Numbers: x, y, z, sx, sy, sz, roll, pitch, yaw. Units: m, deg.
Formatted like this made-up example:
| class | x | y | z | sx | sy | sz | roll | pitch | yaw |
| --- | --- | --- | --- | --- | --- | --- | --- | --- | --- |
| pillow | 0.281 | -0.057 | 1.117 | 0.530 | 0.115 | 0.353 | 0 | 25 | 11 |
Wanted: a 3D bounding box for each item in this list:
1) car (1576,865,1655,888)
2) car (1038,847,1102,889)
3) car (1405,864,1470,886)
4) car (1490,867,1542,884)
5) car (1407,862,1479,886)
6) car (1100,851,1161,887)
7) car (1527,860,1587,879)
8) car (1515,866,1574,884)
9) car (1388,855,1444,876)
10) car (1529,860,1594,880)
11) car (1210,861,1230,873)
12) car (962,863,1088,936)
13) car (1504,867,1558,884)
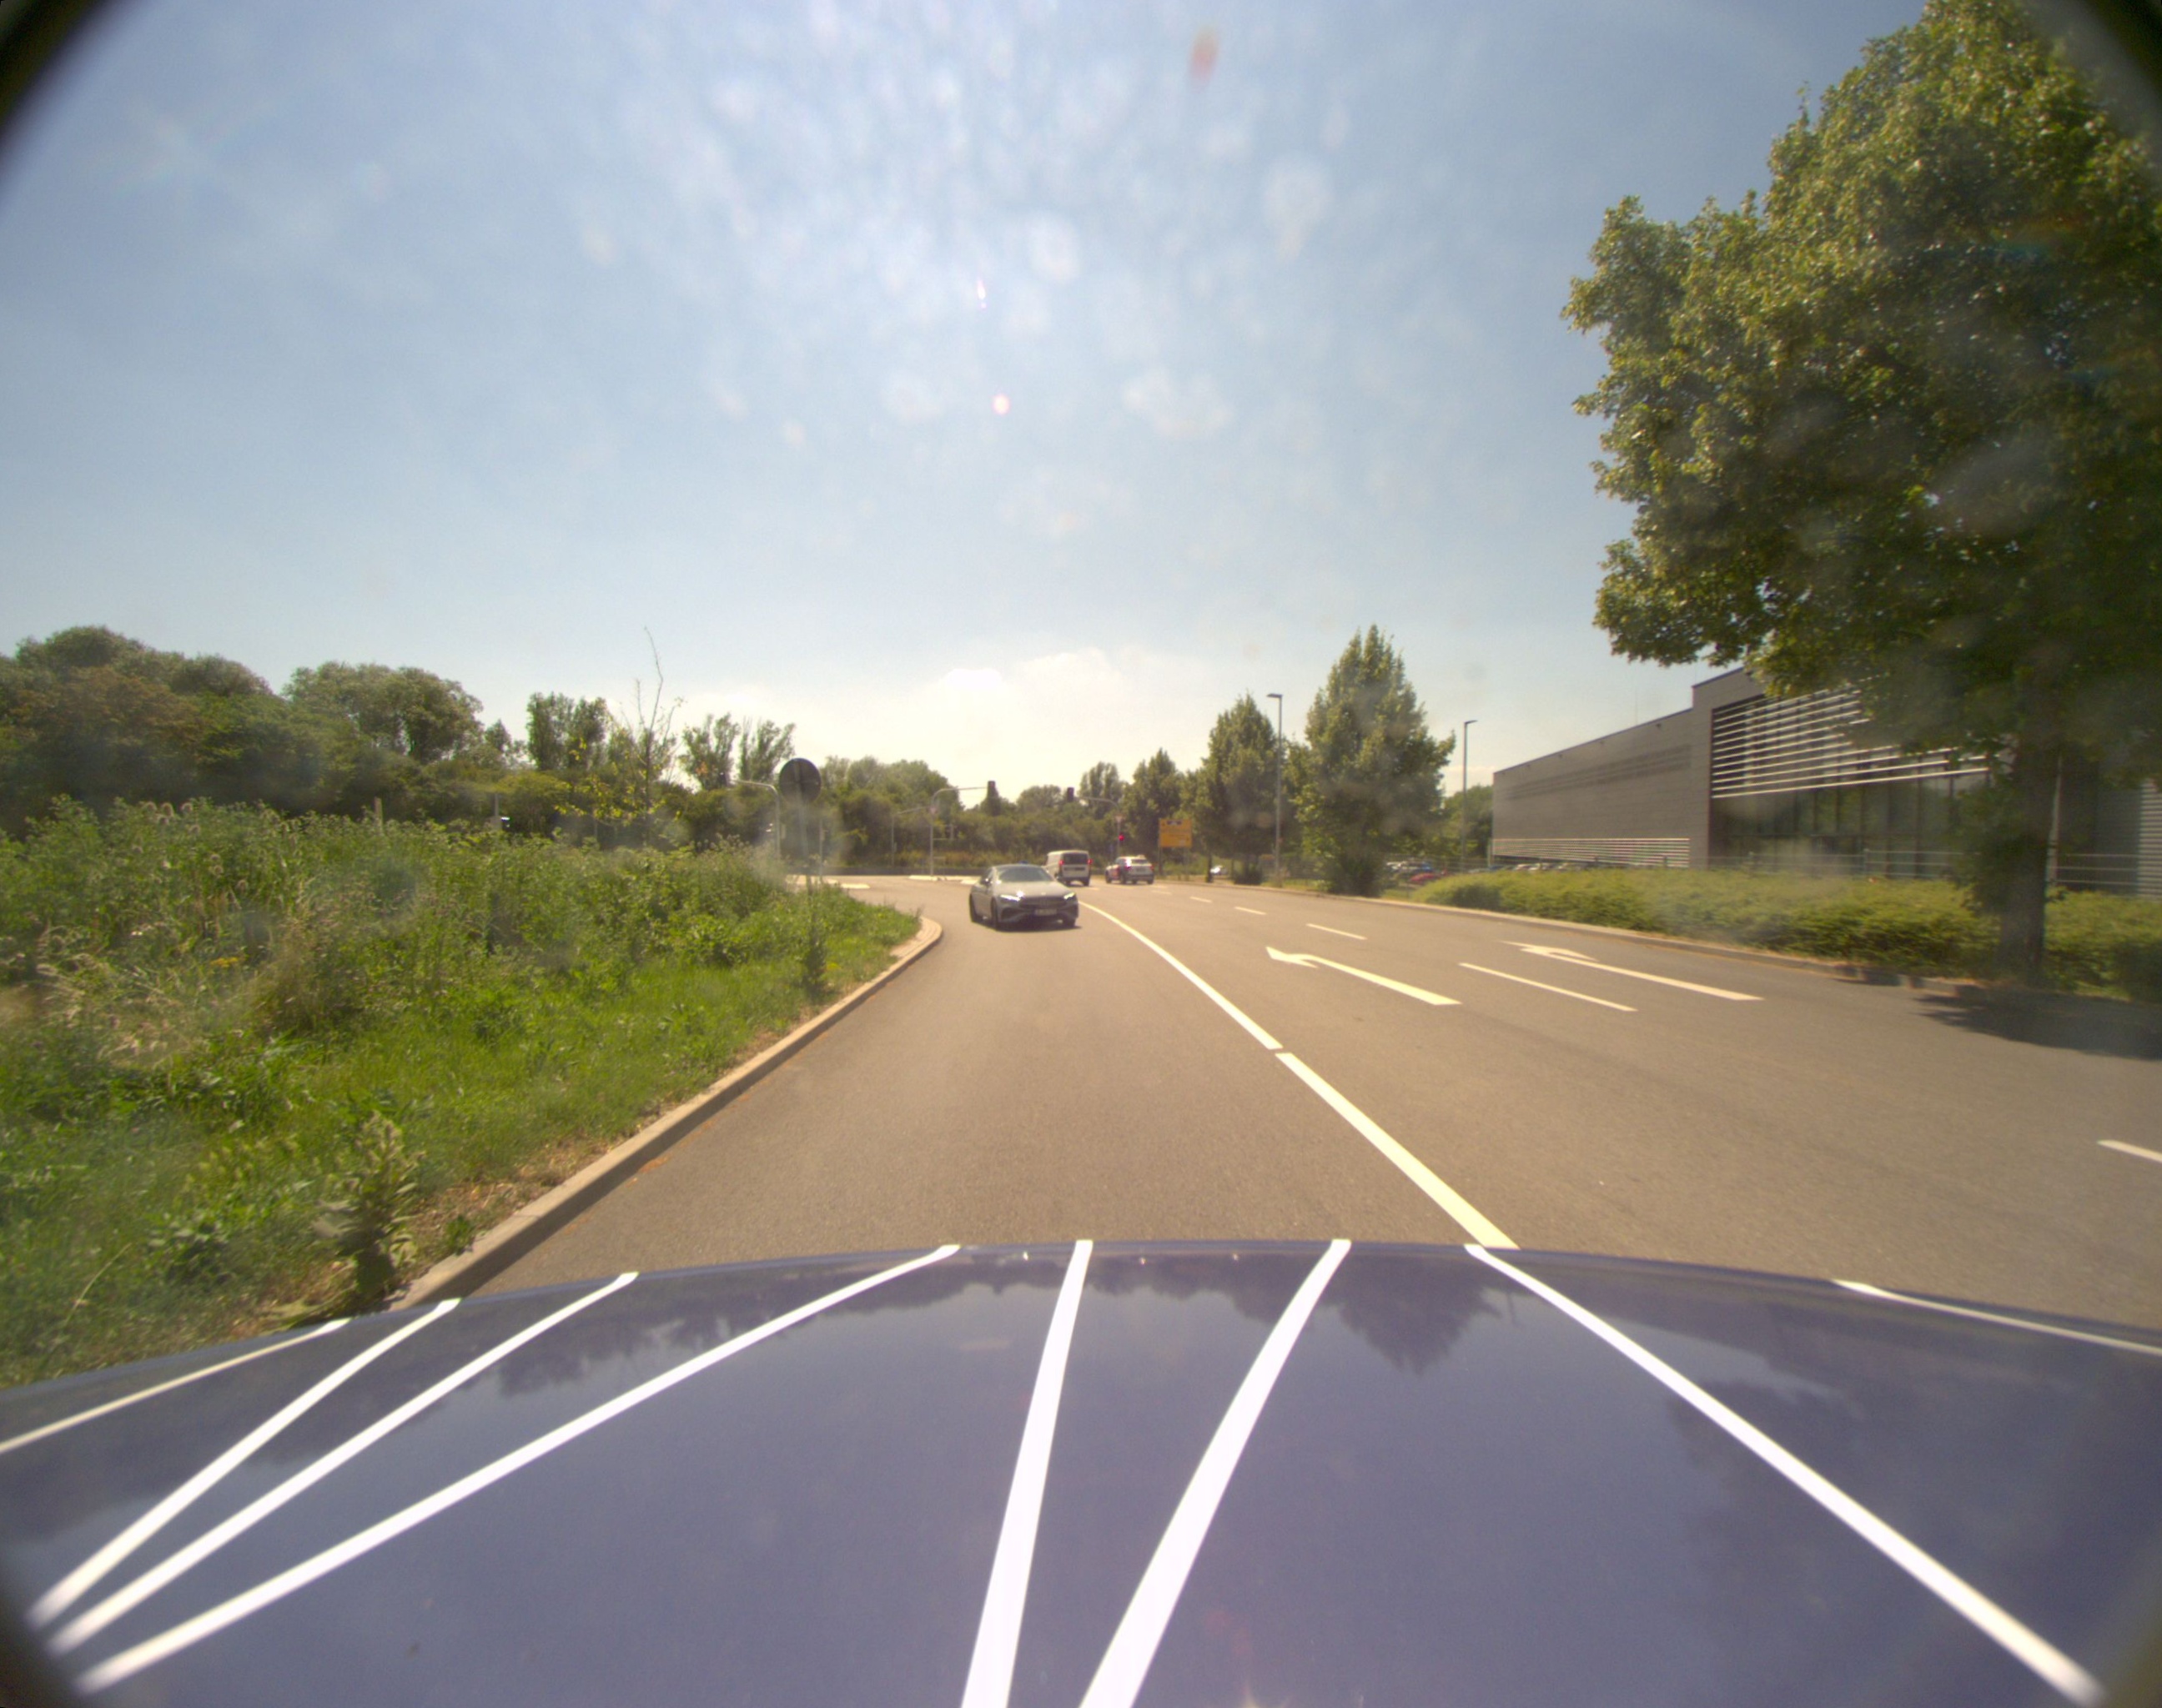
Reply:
| class | x | y | z | sx | sy | sz | roll | pitch | yaw |
| --- | --- | --- | --- | --- | --- | --- | --- | --- | --- |
| car | 36.732 | 1.552 | 52.322 | 3.993 | 1.477 | 2.002 | 1 | -1 | 11 |
| car | -0.662 | 0.690 | 40.634 | 2.001 | 1.932 | 4.862 | -4 | 2 | -18 |
| car | 26.338 | 1.554 | 56.309 | 3.993 | 1.477 | 2.002 | 1 | -1 | 11 |
| car | 42.621 | 2.119 | 74.542 | 3.993 | 1.477 | 2.002 | 1 | -1 | 11 |
| car | 24.310 | 1.362 | 51.175 | 3.993 | 1.477 | 2.002 | 1 | -1 | 11 |
| car | 2.707 | 0.774 | 42.344 | 2.001 | 1.698 | 3.857 | -4 | 2 | -18 |
| car | 40.725 | 1.343 | 65.086 | 3.993 | 1.451 | 1.774 | 1 | -1 | 11 |
| car | 41.251 | 1.896 | 67.693 | 3.993 | 1.477 | 2.002 | 1 | -1 | 11 |
| car | 28.527 | 0.987 | 64.828 | 3.993 | 1.695 | 2.002 | 1 | -1 | 11 |
| car | 39.483 | 1.309 | 62.525 | 3.993 | 1.477 | 2.002 | 1 | -1 | 11 |
| car | 21.478 | 2.039 | 117.358 | 1.995 | 1.772 | 4.009 | 1 | -2 | 27 |
| car | -1.494 | 0.993 | 18.370 | 1.924 | 1.434 | 4.475 | -2 | 0 | -19 |
| car | 42.486 | 2.042 | 71.837 | 3.993 | 1.477 | 2.002 | 1 | -1 | 11 |
